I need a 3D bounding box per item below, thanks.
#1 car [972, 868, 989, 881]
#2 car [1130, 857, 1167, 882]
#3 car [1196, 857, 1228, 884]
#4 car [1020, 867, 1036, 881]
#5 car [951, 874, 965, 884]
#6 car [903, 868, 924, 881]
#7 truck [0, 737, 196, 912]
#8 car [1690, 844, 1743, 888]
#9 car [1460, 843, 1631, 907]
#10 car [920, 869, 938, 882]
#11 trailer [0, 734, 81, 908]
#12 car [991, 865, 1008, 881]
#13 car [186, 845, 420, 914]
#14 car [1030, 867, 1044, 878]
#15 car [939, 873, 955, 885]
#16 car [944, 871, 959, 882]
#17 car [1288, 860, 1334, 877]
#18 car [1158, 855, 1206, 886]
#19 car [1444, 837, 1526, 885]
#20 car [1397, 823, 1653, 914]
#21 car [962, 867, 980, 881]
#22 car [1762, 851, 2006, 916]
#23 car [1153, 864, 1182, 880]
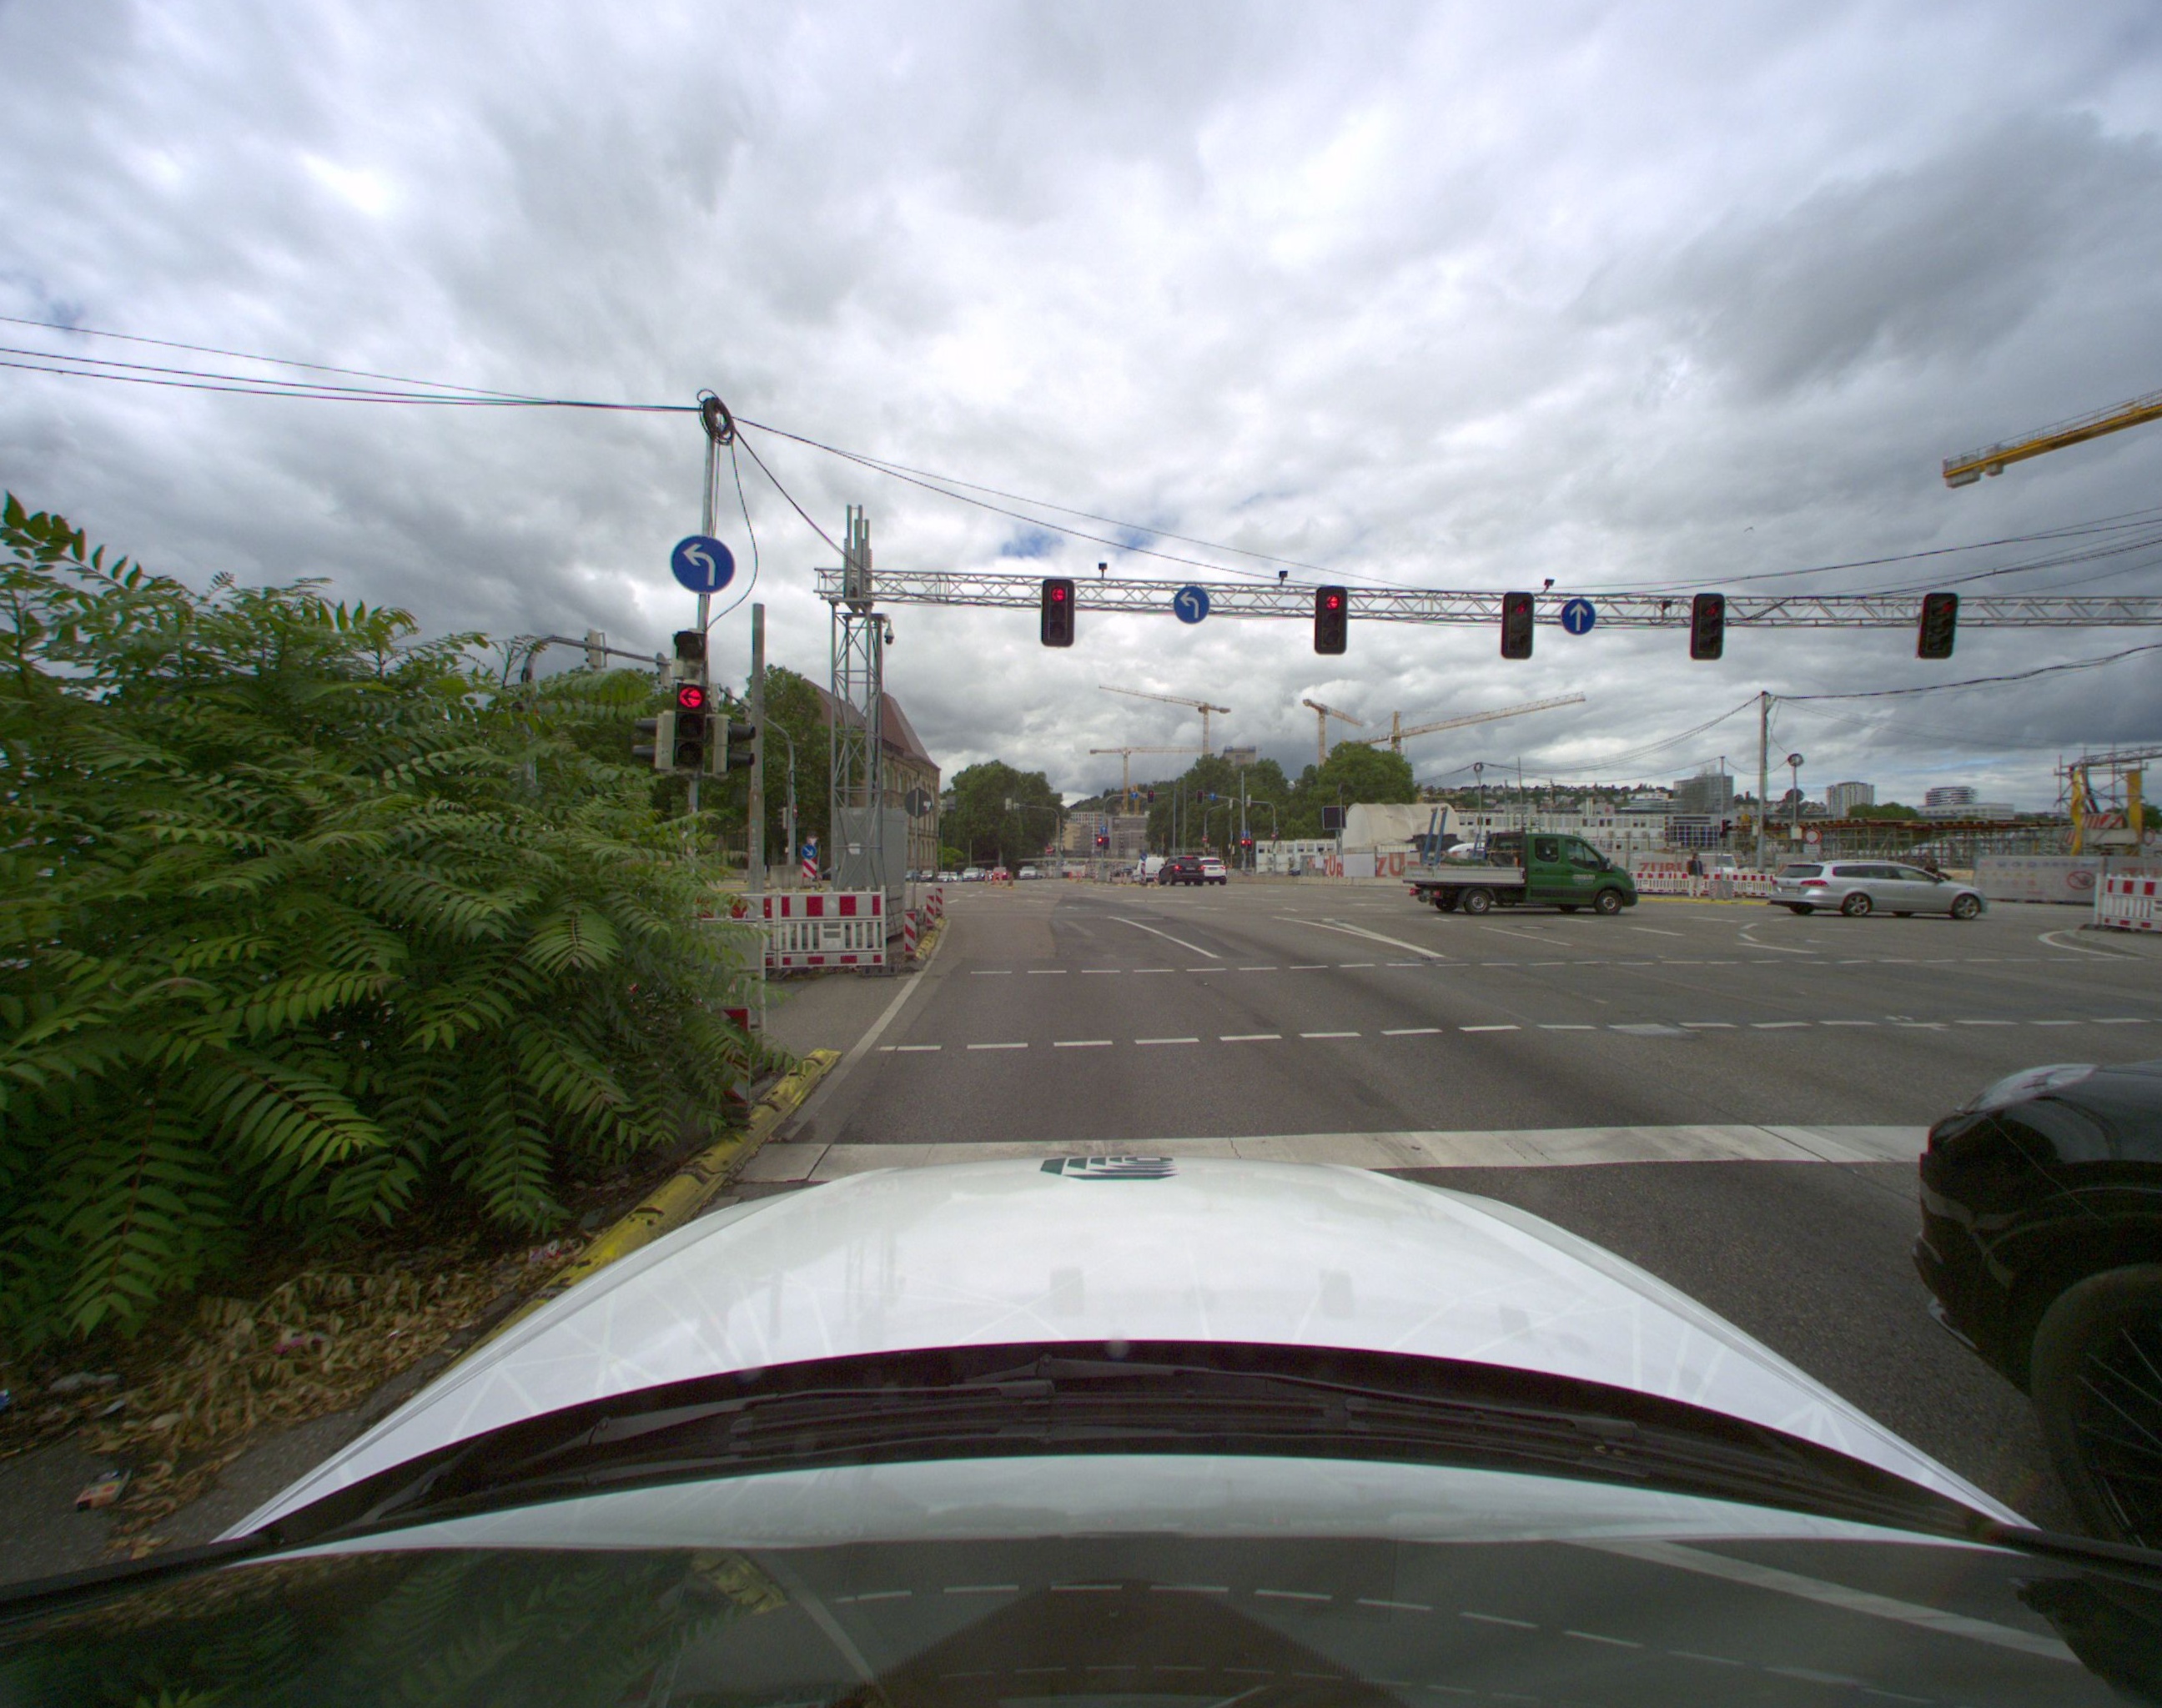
[{"bbox_3d":[-11.361,2.262,92.233,1.673,1.398,3.677,0,-1,-4],"label":"car"},{"bbox_3d":[4.572,1.014,55.577,1.814,1.625,3.992,0,-1,-5],"label":"car"},{"bbox_3d":[8.484,1.052,52.999,1.670,1.702,3.375,0,-1,2],"label":"car"},{"bbox_3d":[-5.586,2.064,85.417,1.673,1.398,3.677,0,-1,-4],"label":"car"},{"bbox_3d":[-17.475,3.547,116.100,1.673,1.398,3.677,0,-1,-4],"label":"car"},{"bbox_3d":[-17.900,2.167,87.086,1.673,1.398,3.677,0,-1,-4],"label":"car"},{"bbox_3d":[-26.181,-0.668,20.276,4.864,4.064,2.942,0,-1,-3],"label":"truck"},{"bbox_3d":[30.138,0.558,38.699,1.755,1.954,3.146,-1,-1,34],"label":"car"},{"bbox_3d":[14.297,0.649,25.301,4.239,1.882,1.836,-1,-1,11],"label":"car"},{"bbox_3d":[-17.422,2.445,93.480,1.673,1.398,3.677,0,-1,-4],"label":"car"},{"bbox_3d":[-33.516,-0.769,19.953,13.708,4.281,2.945,0,-1,-3],"label":"trailer"},{"bbox_3d":[-8.474,1.991,85.091,1.673,1.580,3.677,0,-1,-4],"label":"car"},{"bbox_3d":[-19.369,0.621,20.413,4.041,1.625,1.829,0,-1,-1],"label":"car"},{"bbox_3d":[-5.611,2.301,103.047,1.673,1.398,3.677,0,-1,-4],"label":"car"},{"bbox_3d":[-16.764,3.124,101.998,1.673,1.398,3.677,0,-1,-4],"label":"car"},{"bbox_3d":[-17.320,3.049,109.080,1.672,1.398,3.678,0,-2,-3],"label":"car"},{"bbox_3d":[22.628,1.415,80.160,3.996,1.625,1.812,0,-1,-17],"label":"car"},{"bbox_3d":[5.964,0.937,48.492,1.830,1.746,4.244,0,-1,-8],"label":"car"},{"bbox_3d":[23.235,0.419,46.972,3.957,2.662,1.688,-1,-1,15],"label":"car"},{"bbox_3d":[11.882,0.368,22.086,5.745,2.305,2.301,0,-1,-3],"label":"car"},{"bbox_3d":[-11.614,2.113,86.075,1.673,1.398,3.677,0,-1,-4],"label":"car"},{"bbox_3d":[21.042,0.760,21.476,4.692,1.625,1.682,0,-1,1],"label":"car"},{"bbox_3d":[8.025,1.675,75.958,1.680,1.398,3.069,0,-1,-16],"label":"car"}]
